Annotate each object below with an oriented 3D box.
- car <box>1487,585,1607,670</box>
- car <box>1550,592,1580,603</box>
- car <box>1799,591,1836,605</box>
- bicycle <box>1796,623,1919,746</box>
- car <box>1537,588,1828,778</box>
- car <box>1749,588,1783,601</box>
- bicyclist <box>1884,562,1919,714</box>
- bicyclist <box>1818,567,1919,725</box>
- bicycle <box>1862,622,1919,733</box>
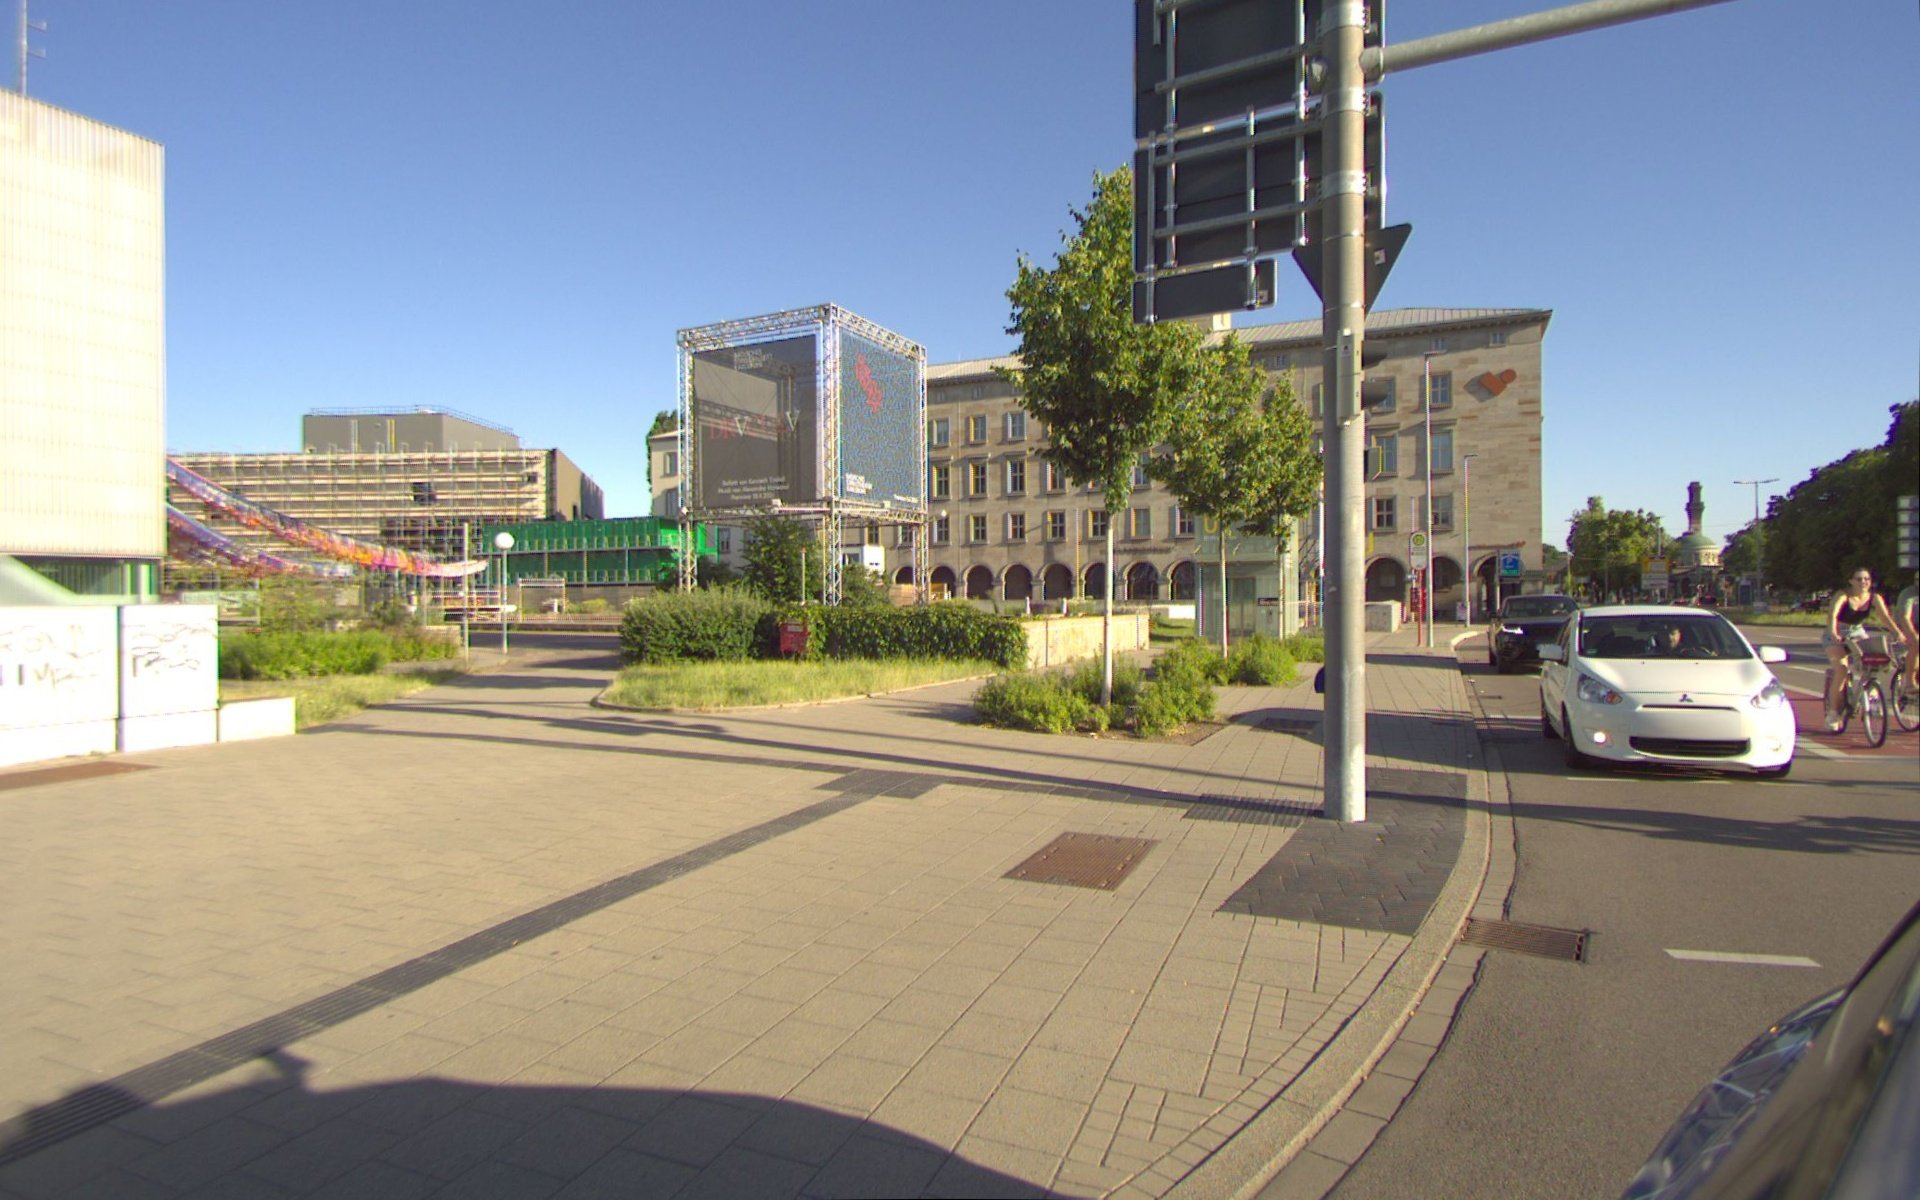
[{"bbox_3d":[13.022,0.526,22.725,1.980,1.683,4.749,0,1,26],"label":"car"},{"bbox_3d":[91.022,-0.367,152.201,3.737,1.470,1.603,-1,0,30],"label":"car"},{"bbox_3d":[76.051,-0.217,89.826,1.603,1.147,3.737,-1,0,26],"label":"car"},{"bbox_3d":[9.474,0.825,10.482,0.644,1.108,1.789,0,0,19],"label":"bicycle"},{"bbox_3d":[6.882,0.659,10.070,1.644,1.490,3.933,-3,-1,26],"label":"car"},{"bbox_3d":[74.217,-0.482,93.260,1.603,1.147,3.737,-1,0,26],"label":"car"},{"bbox_3d":[10.418,0.390,10.712,0.617,1.595,0.889,-1,0,19],"label":"bicyclist"},{"bbox_3d":[9.466,0.446,10.453,0.644,1.562,0.842,0,0,19],"label":"bicyclist"},{"bbox_3d":[10.420,0.825,10.724,0.617,1.130,1.805,0,0,19],"label":"bicycle"}]
